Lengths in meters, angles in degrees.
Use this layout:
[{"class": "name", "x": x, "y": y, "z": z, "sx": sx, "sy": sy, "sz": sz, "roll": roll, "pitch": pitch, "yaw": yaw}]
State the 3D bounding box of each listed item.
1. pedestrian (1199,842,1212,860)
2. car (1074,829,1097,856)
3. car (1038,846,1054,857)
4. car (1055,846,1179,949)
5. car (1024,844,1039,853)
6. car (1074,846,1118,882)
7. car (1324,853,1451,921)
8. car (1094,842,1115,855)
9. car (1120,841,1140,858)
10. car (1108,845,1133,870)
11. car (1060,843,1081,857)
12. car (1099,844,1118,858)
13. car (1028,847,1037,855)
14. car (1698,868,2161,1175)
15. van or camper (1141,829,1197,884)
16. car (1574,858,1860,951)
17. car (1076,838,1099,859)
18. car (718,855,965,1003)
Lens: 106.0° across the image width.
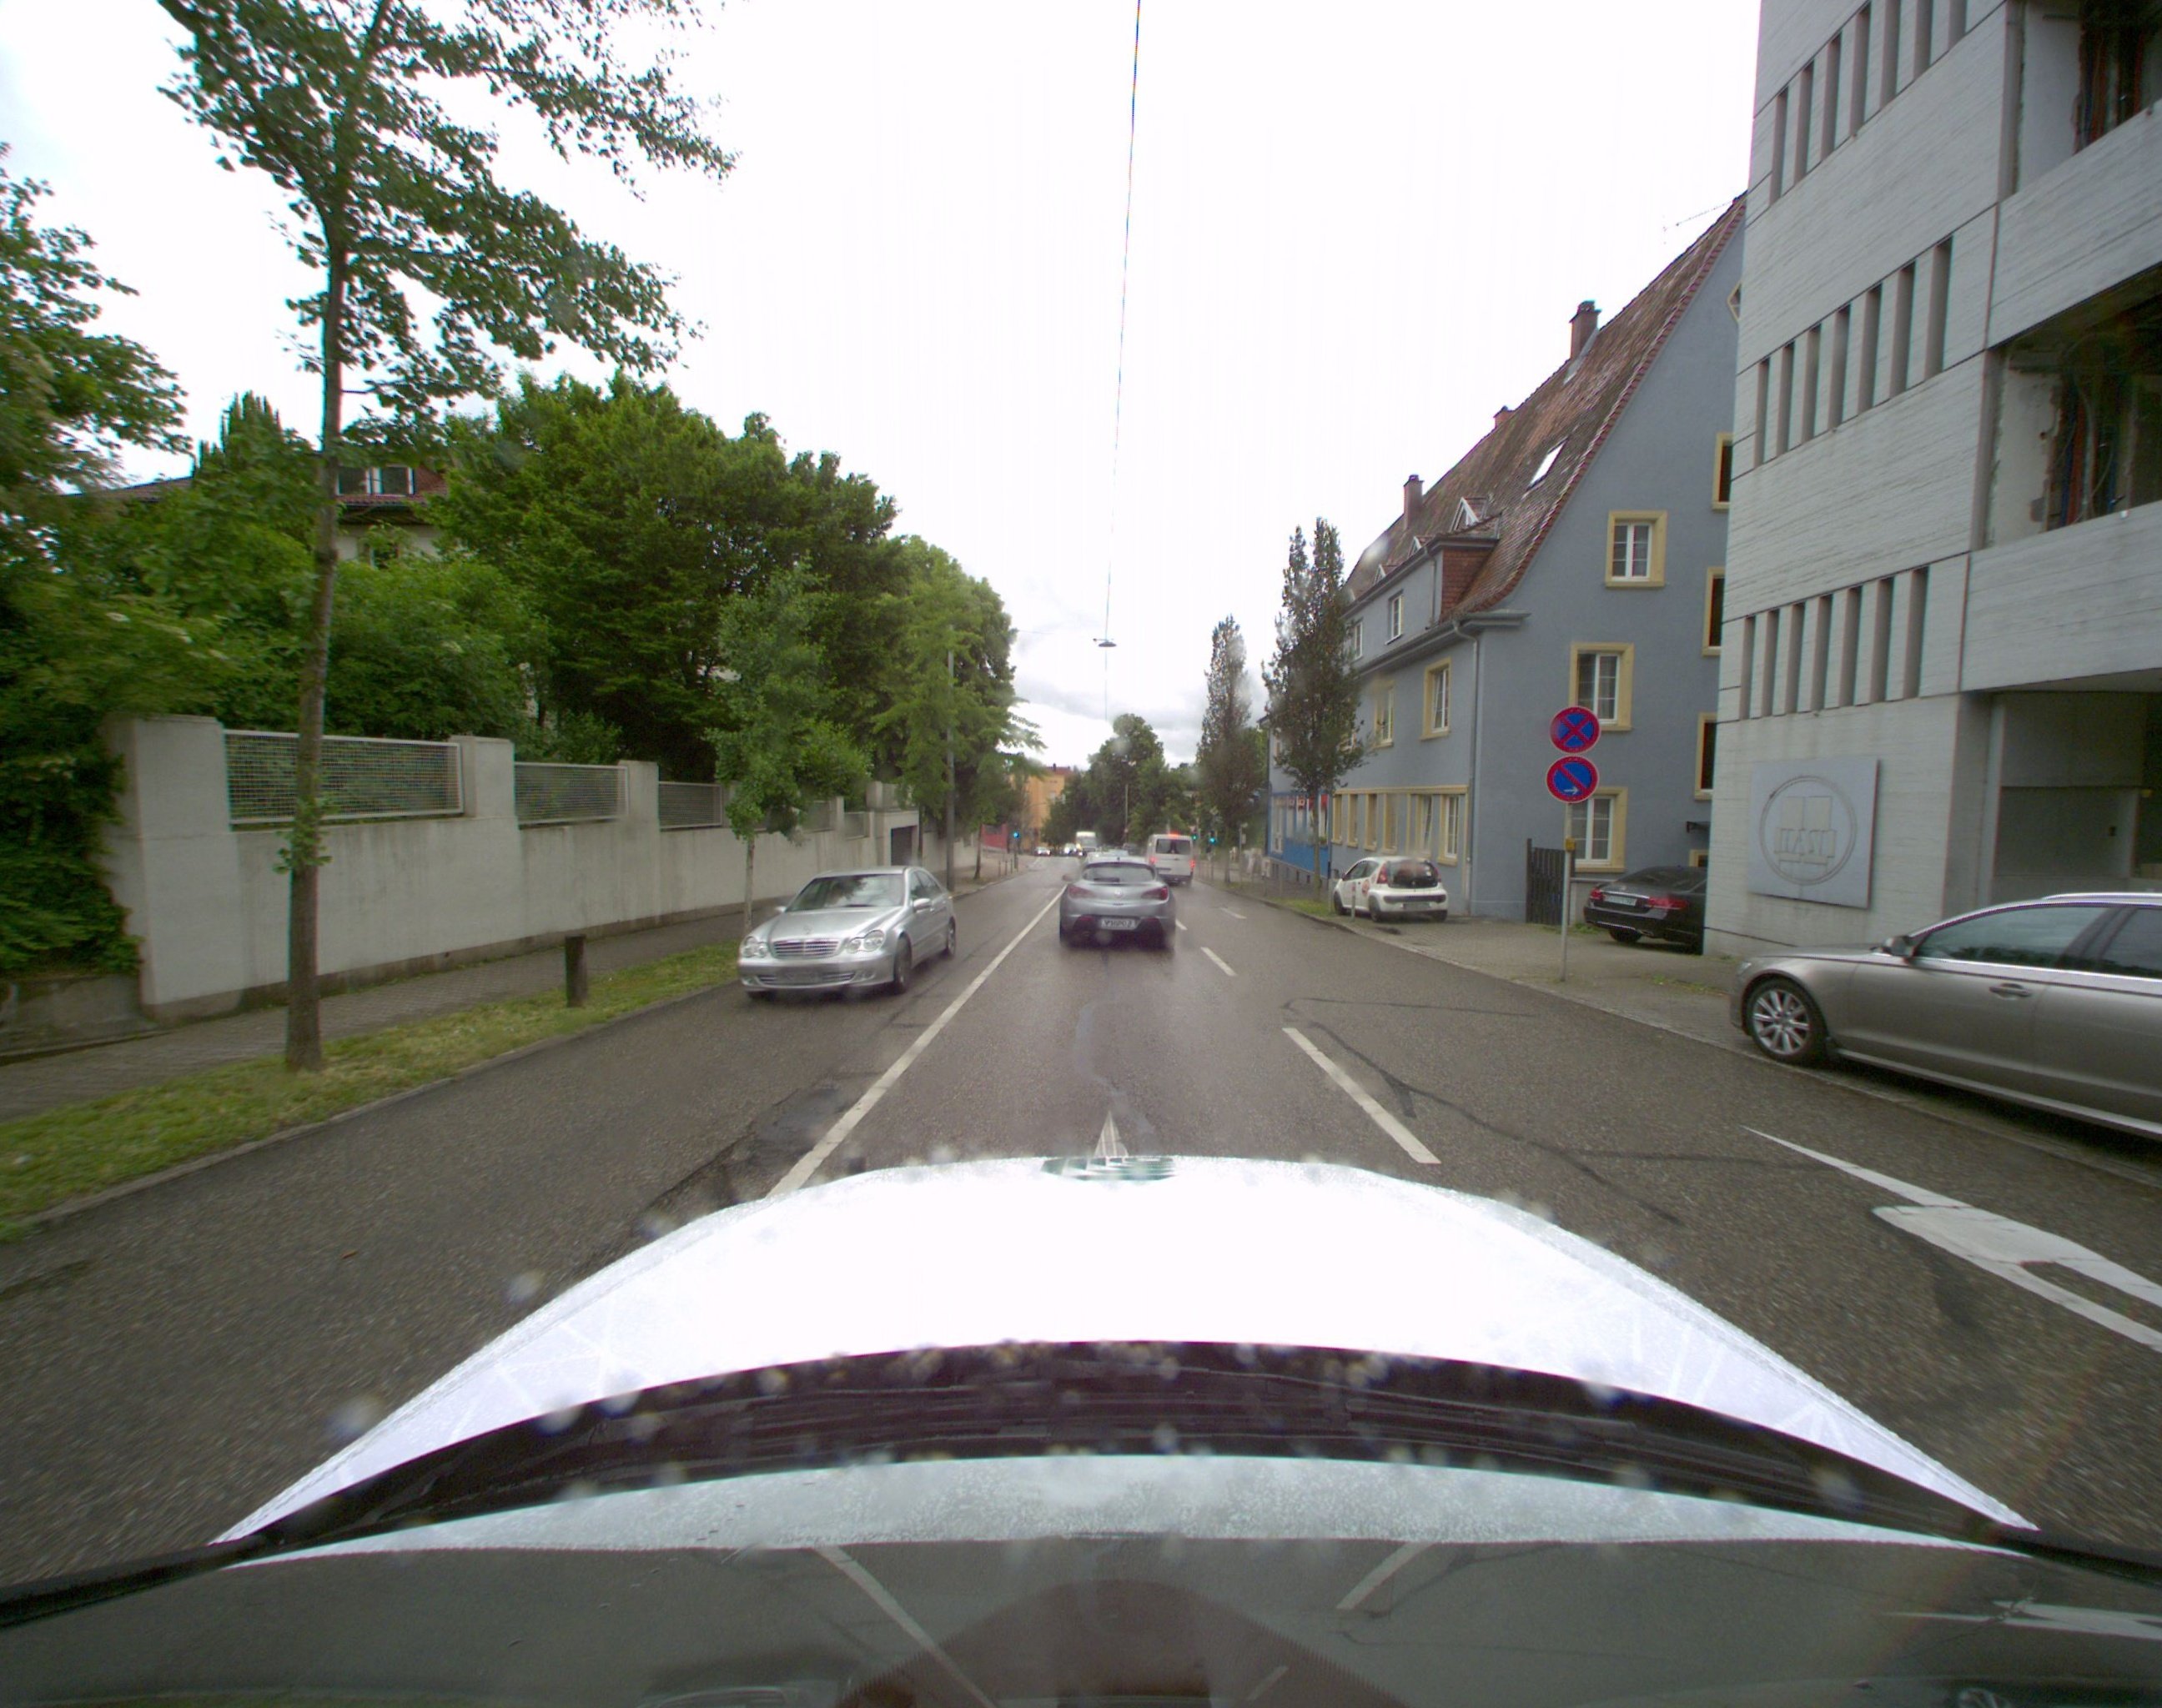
[{"class": "pedestrian", "x": 11.361, "y": -0.265, "z": 74.402, "sx": 0.769, "sy": 1.605, "sz": 0.958, "roll": -1, "pitch": 0, "yaw": -24}, {"class": "car", "x": 0.395, "y": -1.090, "z": 79.962, "sx": 2.112, "sy": 2.545, "sz": 5.536, "roll": 1, "pitch": 0, "yaw": -2}, {"class": "car", "x": -5.092, "y": -0.371, "z": 118.872, "sx": 1.774, "sy": 1.497, "sz": 4.248, "roll": 2, "pitch": 0, "yaw": -10}, {"class": "car", "x": 0.596, "y": 0.629, "z": 14.167, "sx": 1.808, "sy": 1.429, "sz": 4.002, "roll": 2, "pitch": 1, "yaw": 1}, {"class": "car", "x": -9.529, "y": -1.013, "z": 156.421, "sx": 1.820, "sy": 1.467, "sz": 3.976, "roll": -4, "pitch": 1, "yaw": -17}, {"class": "car", "x": 0.654, "y": 0.419, "z": 34.959, "sx": 1.770, "sy": 1.430, "sz": 3.787, "roll": 1, "pitch": 0, "yaw": 1}, {"class": "car", "x": 7.109, "y": 0.698, "z": 19.232, "sx": 1.582, "sy": 1.411, "sz": 3.453, "roll": -1, "pitch": 0, "yaw": -2}, {"class": "car", "x": 3.144, "y": -0.725, "z": 108.964, "sx": 1.817, "sy": 1.495, "sz": 3.982, "roll": -4, "pitch": 0, "yaw": -13}, {"class": "car", "x": 4.596, "y": -0.411, "z": 76.786, "sx": 1.615, "sy": 1.486, "sz": 3.434, "roll": 1, "pitch": 0, "yaw": -1}, {"class": "car", "x": 2.353, "y": 0.193, "z": 49.396, "sx": 1.378, "sy": 1.411, "sz": 3.457, "roll": 0, "pitch": 1, "yaw": 1}, {"class": "car", "x": -1.320, "y": -0.520, "z": 98.457, "sx": 1.874, "sy": 1.574, "sz": 4.572, "roll": 1, "pitch": 0, "yaw": -9}, {"class": "car", "x": 3.050, "y": -0.279, "z": 90.544, "sx": 1.618, "sy": 1.486, "sz": 3.429, "roll": 1, "pitch": 0, "yaw": -5}, {"class": "car", "x": -9.846, "y": -0.690, "z": 166.699, "sx": 1.772, "sy": 1.429, "sz": 3.782, "roll": 2, "pitch": 1, "yaw": -3}, {"class": "car", "x": 6.311, "y": 0.889, "z": 4.745, "sx": 1.809, "sy": 1.459, "sz": 4.740, "roll": 1, "pitch": 0, "yaw": -1}, {"class": "van or camper", "x": 4.087, "y": 0.092, "z": 38.616, "sx": 2.096, "sy": 2.326, "sz": 5.419, "roll": 3, "pitch": 0, "yaw": 1}, {"class": "car", "x": 11.040, "y": 0.832, "z": 14.174, "sx": 4.365, "sy": 1.407, "sz": 1.798, "roll": 1, "pitch": 0, "yaw": -18}, {"class": "car", "x": 0.529, "y": -0.497, "z": 70.290, "sx": 1.816, "sy": 1.651, "sz": 4.345, "roll": 2, "pitch": 1, "yaw": -1}, {"class": "car", "x": -2.737, "y": 0.760, "z": 10.416, "sx": 1.713, "sy": 1.384, "sz": 4.287, "roll": -3, "pitch": 0, "yaw": 2}]
